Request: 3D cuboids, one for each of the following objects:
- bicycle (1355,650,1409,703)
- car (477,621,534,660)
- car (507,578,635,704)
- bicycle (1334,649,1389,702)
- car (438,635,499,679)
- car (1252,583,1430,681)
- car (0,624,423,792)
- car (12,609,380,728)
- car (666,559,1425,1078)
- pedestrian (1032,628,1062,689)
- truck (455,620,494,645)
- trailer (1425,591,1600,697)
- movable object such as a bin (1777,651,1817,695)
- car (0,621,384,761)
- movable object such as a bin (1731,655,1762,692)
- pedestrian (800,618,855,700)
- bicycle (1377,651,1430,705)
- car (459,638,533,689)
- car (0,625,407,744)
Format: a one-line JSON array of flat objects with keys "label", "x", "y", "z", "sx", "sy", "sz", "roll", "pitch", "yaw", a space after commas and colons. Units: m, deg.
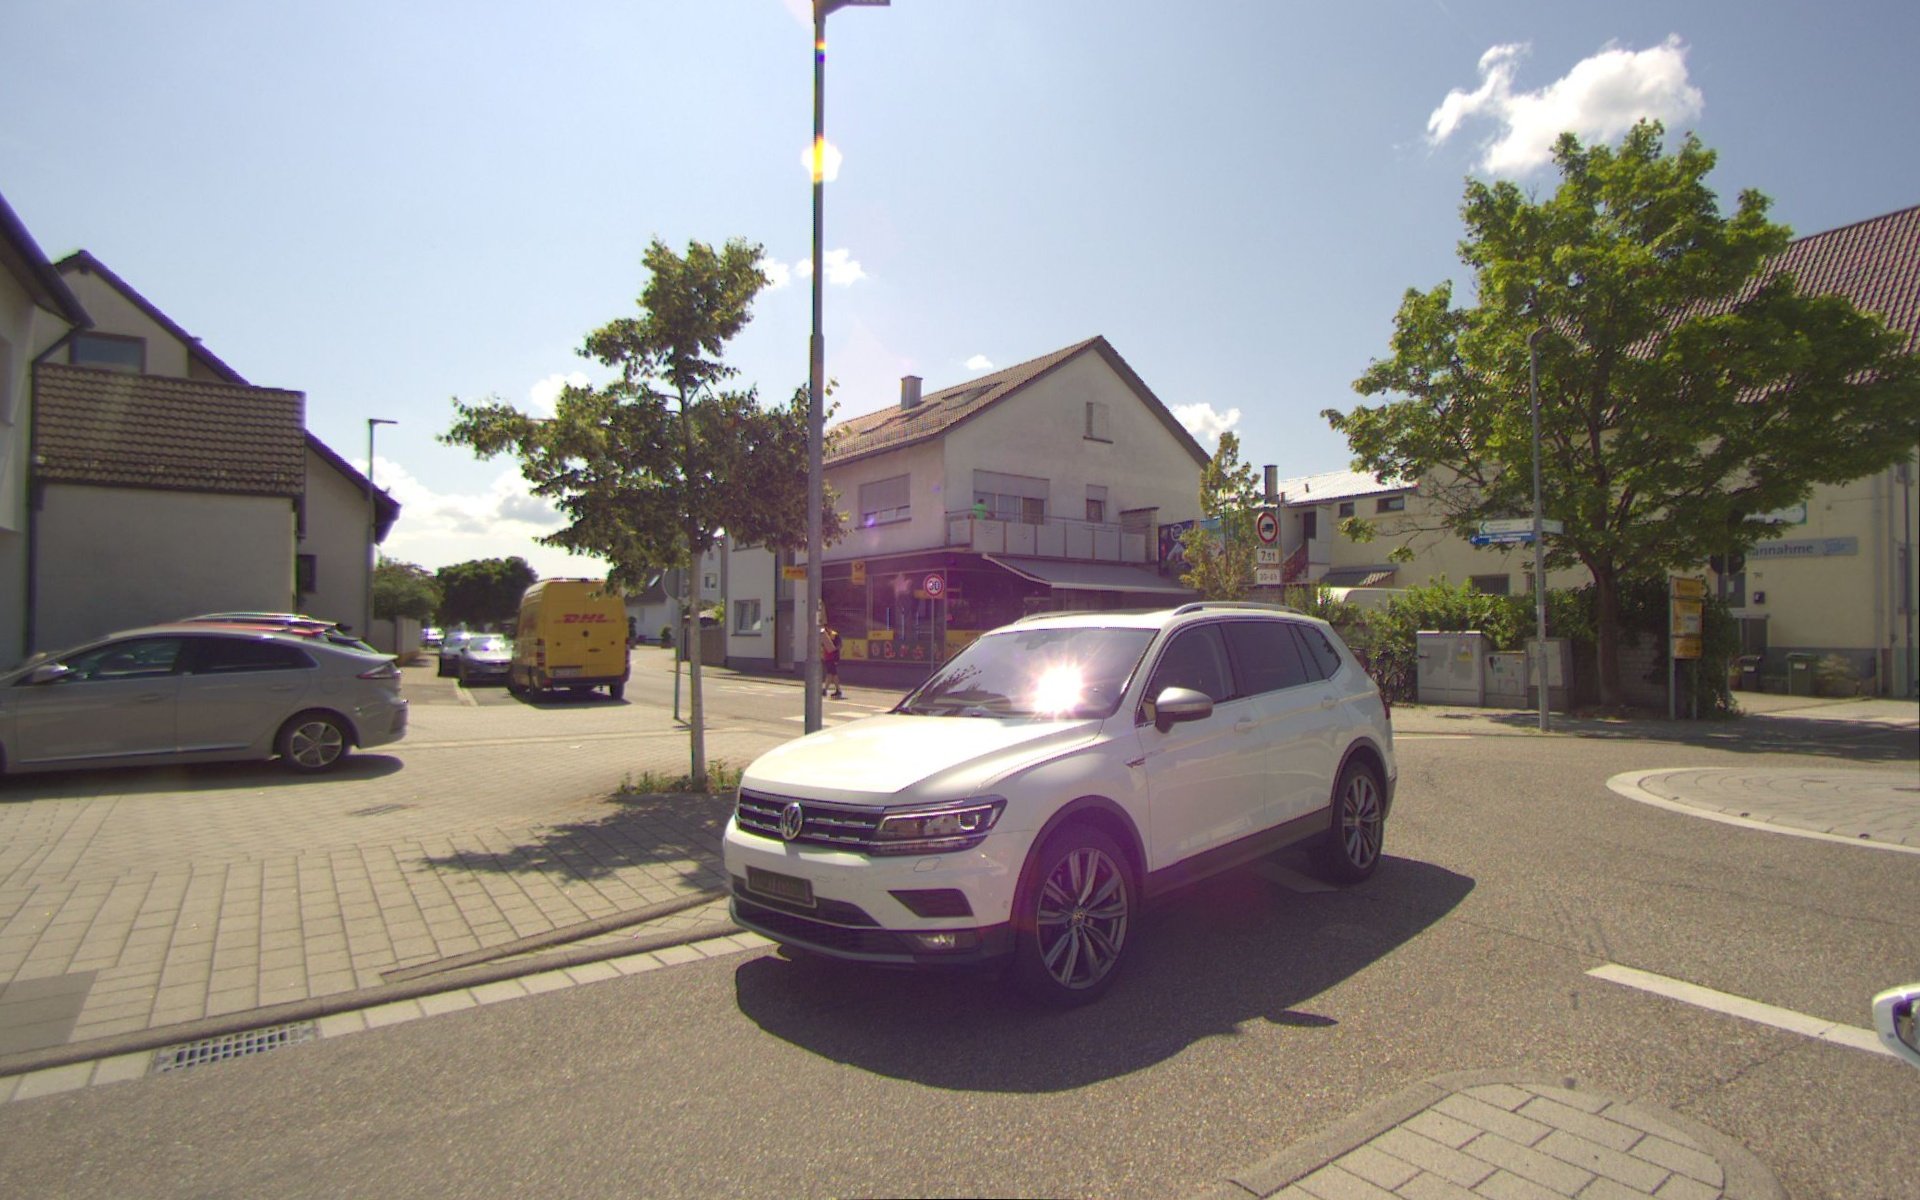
[{"label": "bicycle", "x": 9.147, "y": 1.639, "z": 21.715, "sx": 0.395, "sy": 1.017, "sz": 1.970, "roll": -1, "pitch": 0, "yaw": 43}, {"label": "car", "x": -23.336, "y": 2.041, "z": 51.707, "sx": 1.841, "sy": 1.857, "sz": 3.964, "roll": 1, "pitch": -1, "yaw": -13}, {"label": "car", "x": -9.340, "y": 0.955, "z": 23.790, "sx": 2.087, "sy": 2.606, "sz": 5.641, "roll": 0, "pitch": -2, "yaw": -29}, {"label": "bicycle", "x": 8.815, "y": 1.632, "z": 22.013, "sx": 0.395, "sy": 1.017, "sz": 1.970, "roll": -1, "pitch": 0, "yaw": 43}, {"label": "car", "x": -16.789, "y": 1.897, "z": 34.228, "sx": 1.764, "sy": 1.261, "sz": 3.945, "roll": 1, "pitch": -1, "yaw": -28}, {"label": "car", "x": 11.080, "y": 0.896, "z": 29.017, "sx": 5.588, "sy": 2.601, "sz": 1.925, "roll": 1, "pitch": 0, "yaw": -34}, {"label": "car", "x": -8.053, "y": 0.997, "z": 10.156, "sx": 4.435, "sy": 1.469, "sz": 1.818, "roll": 2, "pitch": -2, "yaw": -35}, {"label": "car", "x": -12.683, "y": 1.117, "z": 17.081, "sx": 4.703, "sy": 1.762, "sz": 1.968, "roll": 2, "pitch": -2, "yaw": -35}, {"label": "car", "x": 0.845, "y": 0.830, "z": 5.671, "sx": 1.847, "sy": 1.732, "sz": 4.516, "roll": -4, "pitch": -4, "yaw": 43}, {"label": "pedestrian", "x": 2.356, "y": 1.567, "z": 27.265, "sx": 0.735, "sy": 1.610, "sz": 0.881, "roll": -1, "pitch": -1, "yaw": 9}, {"label": "truck", "x": -48.396, "y": 3.243, "z": 100.098, "sx": 2.228, "sy": 2.483, "sz": 5.804, "roll": 2, "pitch": -2, "yaw": -38}, {"label": "trailer", "x": 13.425, "y": 1.025, "z": 24.340, "sx": 4.476, "sy": 2.366, "sz": 1.867, "roll": 1, "pitch": 0, "yaw": -34}, {"label": "movable object such as a bin", "x": 21.442, "y": 1.854, "z": 25.741, "sx": 0.651, "sy": 1.093, "sz": 0.596, "roll": 1, "pitch": -2, "yaw": -32}, {"label": "car", "x": -9.482, "y": 1.047, "z": 12.442, "sx": 3.925, "sy": 1.496, "sz": 1.736, "roll": 2, "pitch": -2, "yaw": -35}, {"label": "movable object such as a bin", "x": 20.745, "y": 1.938, "z": 26.502, "sx": 0.541, "sy": 0.940, "sz": 0.476, "roll": 1, "pitch": -2, "yaw": -32}, {"label": "pedestrian", "x": -3.106, "y": 1.354, "z": 23.587, "sx": 1.013, "sy": 1.850, "sz": 0.775, "roll": -1, "pitch": 0, "yaw": -36}, {"label": "bicycle", "x": 9.461, "y": 1.645, "z": 21.392, "sx": 0.395, "sy": 1.017, "sz": 1.970, "roll": -1, "pitch": 0, "yaw": 43}, {"label": "car", "x": -13.622, "y": 1.804, "z": 29.407, "sx": 1.764, "sy": 1.261, "sz": 3.945, "roll": 1, "pitch": -1, "yaw": -28}, {"label": "car", "x": -10.643, "y": 1.142, "z": 14.546, "sx": 4.435, "sy": 1.469, "sz": 1.818, "roll": 2, "pitch": -2, "yaw": -35}]
